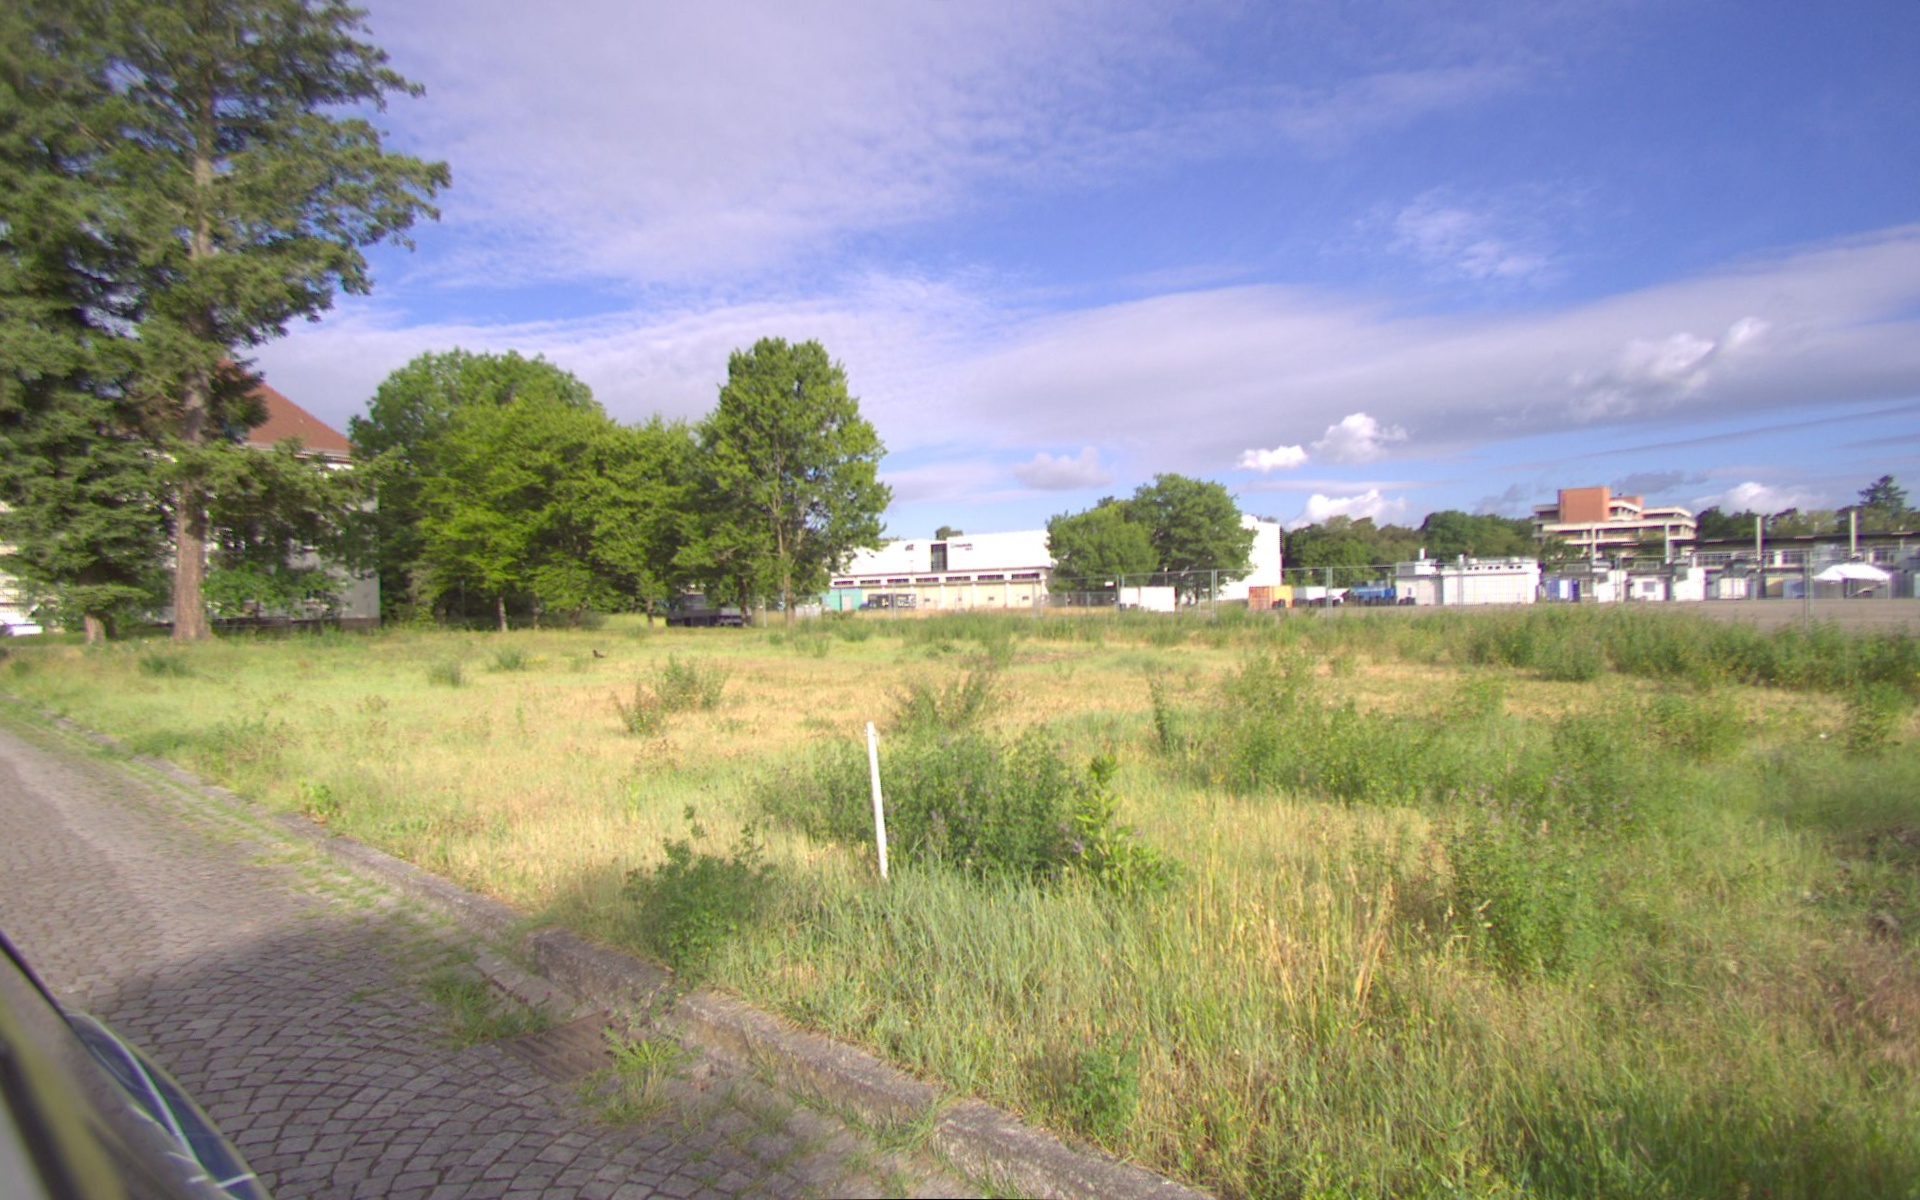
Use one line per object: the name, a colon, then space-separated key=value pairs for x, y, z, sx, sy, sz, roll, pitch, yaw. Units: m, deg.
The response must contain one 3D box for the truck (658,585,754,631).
truck: x=-15.589 y=0.524 z=61.804 sx=6.960 sy=2.606 sz=2.385 roll=-2 pitch=0 yaw=44
